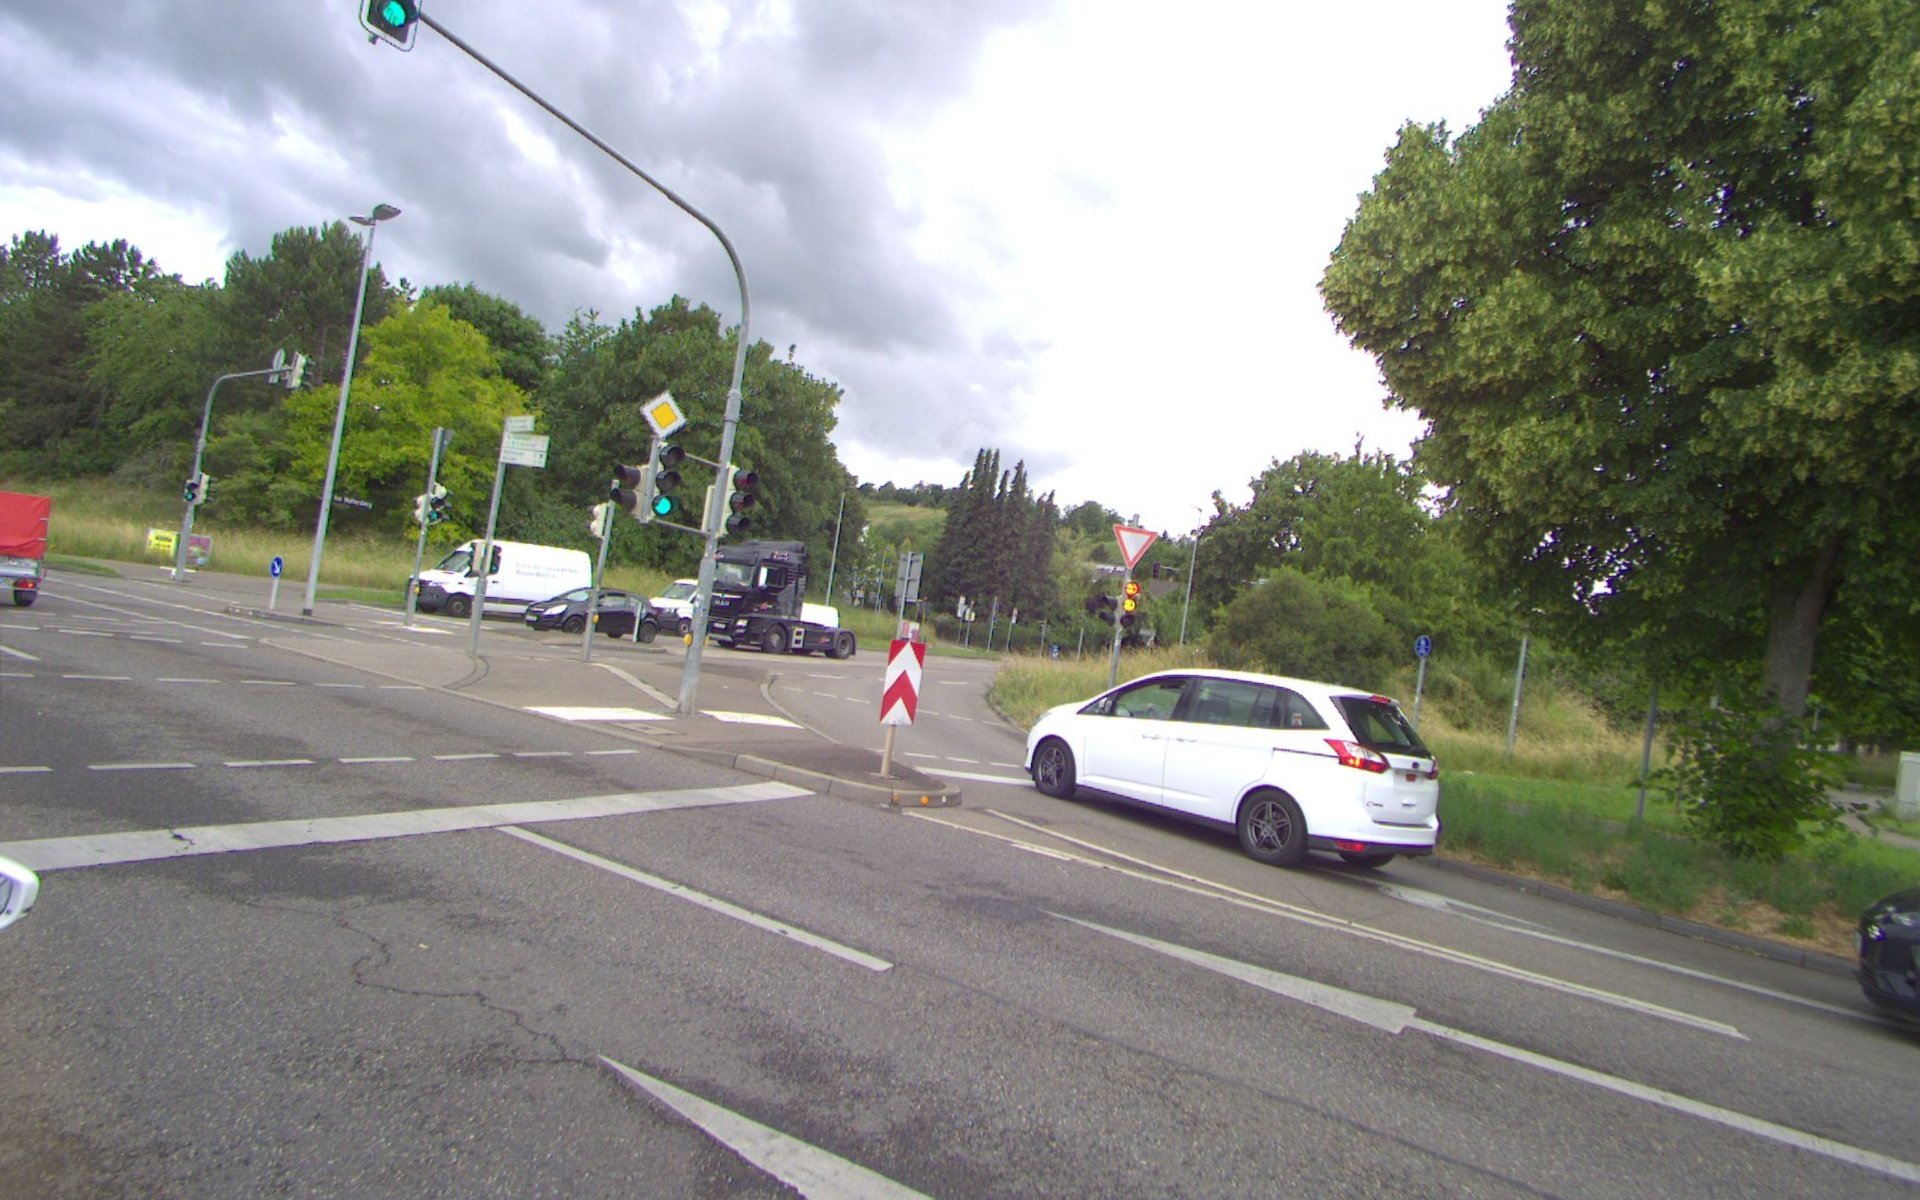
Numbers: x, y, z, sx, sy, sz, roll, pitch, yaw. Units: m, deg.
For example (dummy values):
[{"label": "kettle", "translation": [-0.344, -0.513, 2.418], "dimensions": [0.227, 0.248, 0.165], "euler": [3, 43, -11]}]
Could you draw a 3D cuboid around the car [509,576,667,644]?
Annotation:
[{"label": "car", "translation": [-10.599, 0.338, 28.924], "dimensions": [1.703, 1.453, 3.927], "euler": [7, -1, 31]}]

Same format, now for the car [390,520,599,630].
[{"label": "car", "translation": [-15.330, -0.733, 33.592], "dimensions": [2.100, 2.814, 5.903], "euler": [7, -1, 32]}]

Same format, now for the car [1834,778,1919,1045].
[{"label": "car", "translation": [7.141, 2.040, 5.355], "dimensions": [3.562, 1.445, 1.622], "euler": [6, -5, 39]}]

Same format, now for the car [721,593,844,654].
[{"label": "car", "translation": [-7.100, 1.000, 40.739], "dimensions": [1.999, 1.918, 4.862], "euler": [7, -1, 31]}]

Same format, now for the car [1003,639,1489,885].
[{"label": "car", "translation": [2.625, 1.492, 10.234], "dimensions": [1.772, 1.611, 4.414], "euler": [12, -5, -37]}]

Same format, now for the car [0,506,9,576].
[{"label": "car", "translation": [-17.607, -1.086, 16.433], "dimensions": [4.383, 1.438, 1.782], "euler": [7, -1, 31]}]

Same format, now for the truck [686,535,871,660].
[{"label": "truck", "translation": [-6.205, 0.027, 35.335], "dimensions": [2.682, 3.580, 6.061], "euler": [7, -1, 32]}]

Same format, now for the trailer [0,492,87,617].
[{"label": "trailer", "translation": [-14.449, -0.808, 14.553], "dimensions": [2.992, 1.635, 1.768], "euler": [7, -1, 30]}]

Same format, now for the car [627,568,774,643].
[{"label": "car", "translation": [-10.419, 0.293, 40.899], "dimensions": [2.100, 2.316, 5.709], "euler": [7, -1, 32]}]
